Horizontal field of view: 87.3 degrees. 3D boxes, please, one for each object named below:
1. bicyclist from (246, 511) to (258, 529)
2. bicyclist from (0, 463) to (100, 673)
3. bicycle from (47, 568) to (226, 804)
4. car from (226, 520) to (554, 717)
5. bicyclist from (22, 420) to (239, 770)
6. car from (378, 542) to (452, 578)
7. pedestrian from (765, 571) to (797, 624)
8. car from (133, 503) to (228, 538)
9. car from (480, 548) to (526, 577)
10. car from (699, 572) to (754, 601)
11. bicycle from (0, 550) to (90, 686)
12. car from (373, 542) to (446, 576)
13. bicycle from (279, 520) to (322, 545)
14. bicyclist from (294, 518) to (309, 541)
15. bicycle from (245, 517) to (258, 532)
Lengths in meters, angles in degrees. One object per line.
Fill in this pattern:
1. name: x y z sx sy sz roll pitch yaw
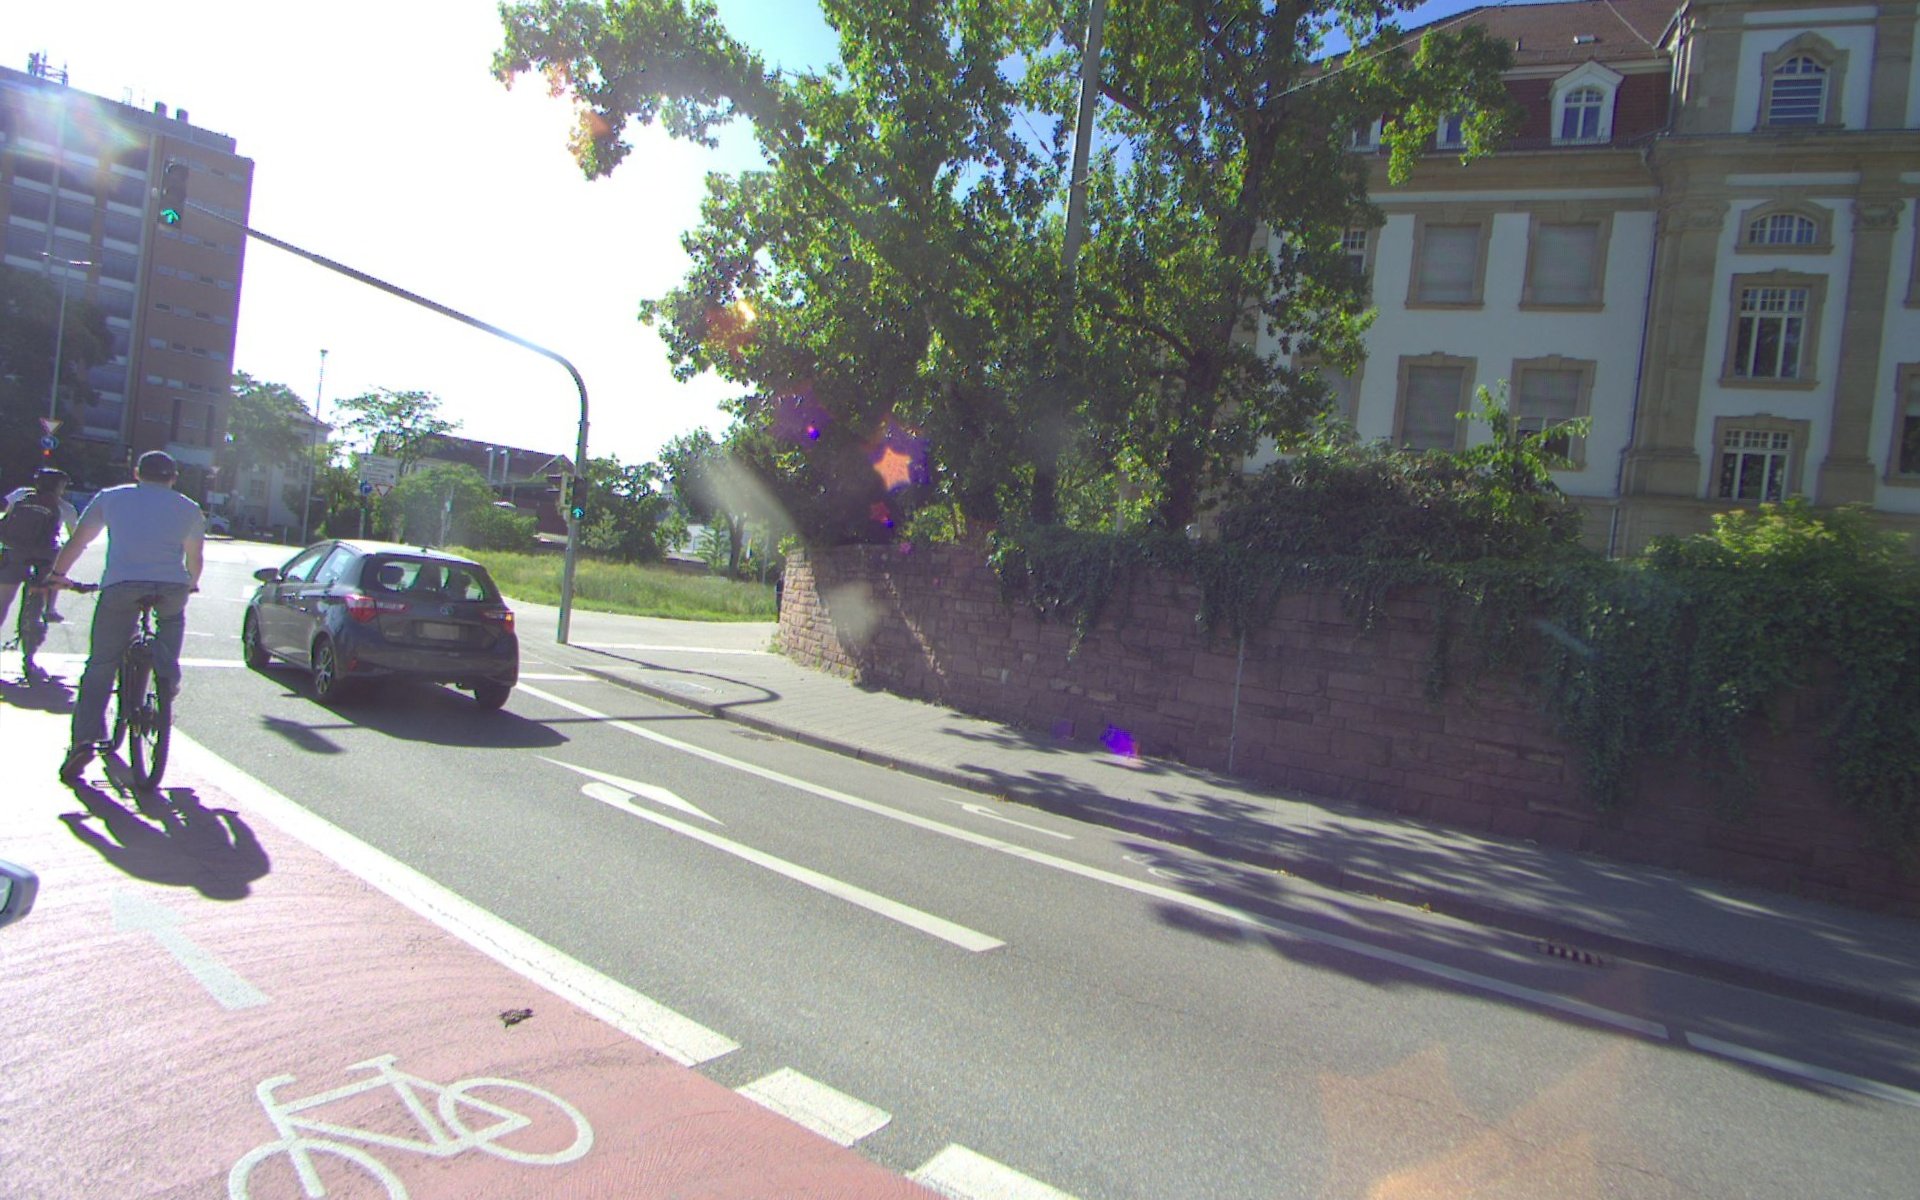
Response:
1. bicyclist: -59.204 -6.689 84.161 0.613 1.462 0.813 6 1 -28
2. bicyclist: -7.919 -0.287 8.546 0.720 1.645 1.042 8 -1 -44
3. bicycle: -4.819 0.438 5.838 0.609 1.090 1.808 7 -1 -43
4. car: -6.015 0.136 10.464 3.608 1.559 1.754 6 -2 41
5. bicyclist: -4.752 -0.020 5.753 0.747 1.797 1.002 7 0 -43
6. car: -40.387 -2.919 74.666 4.611 2.037 1.987 7 -2 -28
7. pedestrian: -6.562 -0.088 36.914 0.746 1.856 1.049 6 1 4
8. car: -47.687 -4.823 61.582 1.796 1.589 4.232 7 1 37
9. car: -38.952 -3.153 85.855 1.872 1.957 3.864 6 -2 1
10. car: -21.009 -1.211 90.658 4.310 2.037 1.988 7 -2 -27
11. bicycle: -8.093 0.116 8.677 0.721 0.971 1.860 8 -1 -44
12. car: -42.120 -3.097 77.113 4.605 1.922 1.990 7 -2 -23
13. bicycle: -52.660 -5.345 80.357 2.784 1.559 0.877 8 -2 -34
14. bicyclist: -52.595 -5.644 80.373 0.852 1.712 0.877 7 -1 -33
15. bicycle: -59.244 -6.328 84.157 0.603 1.106 1.660 6 1 -27
